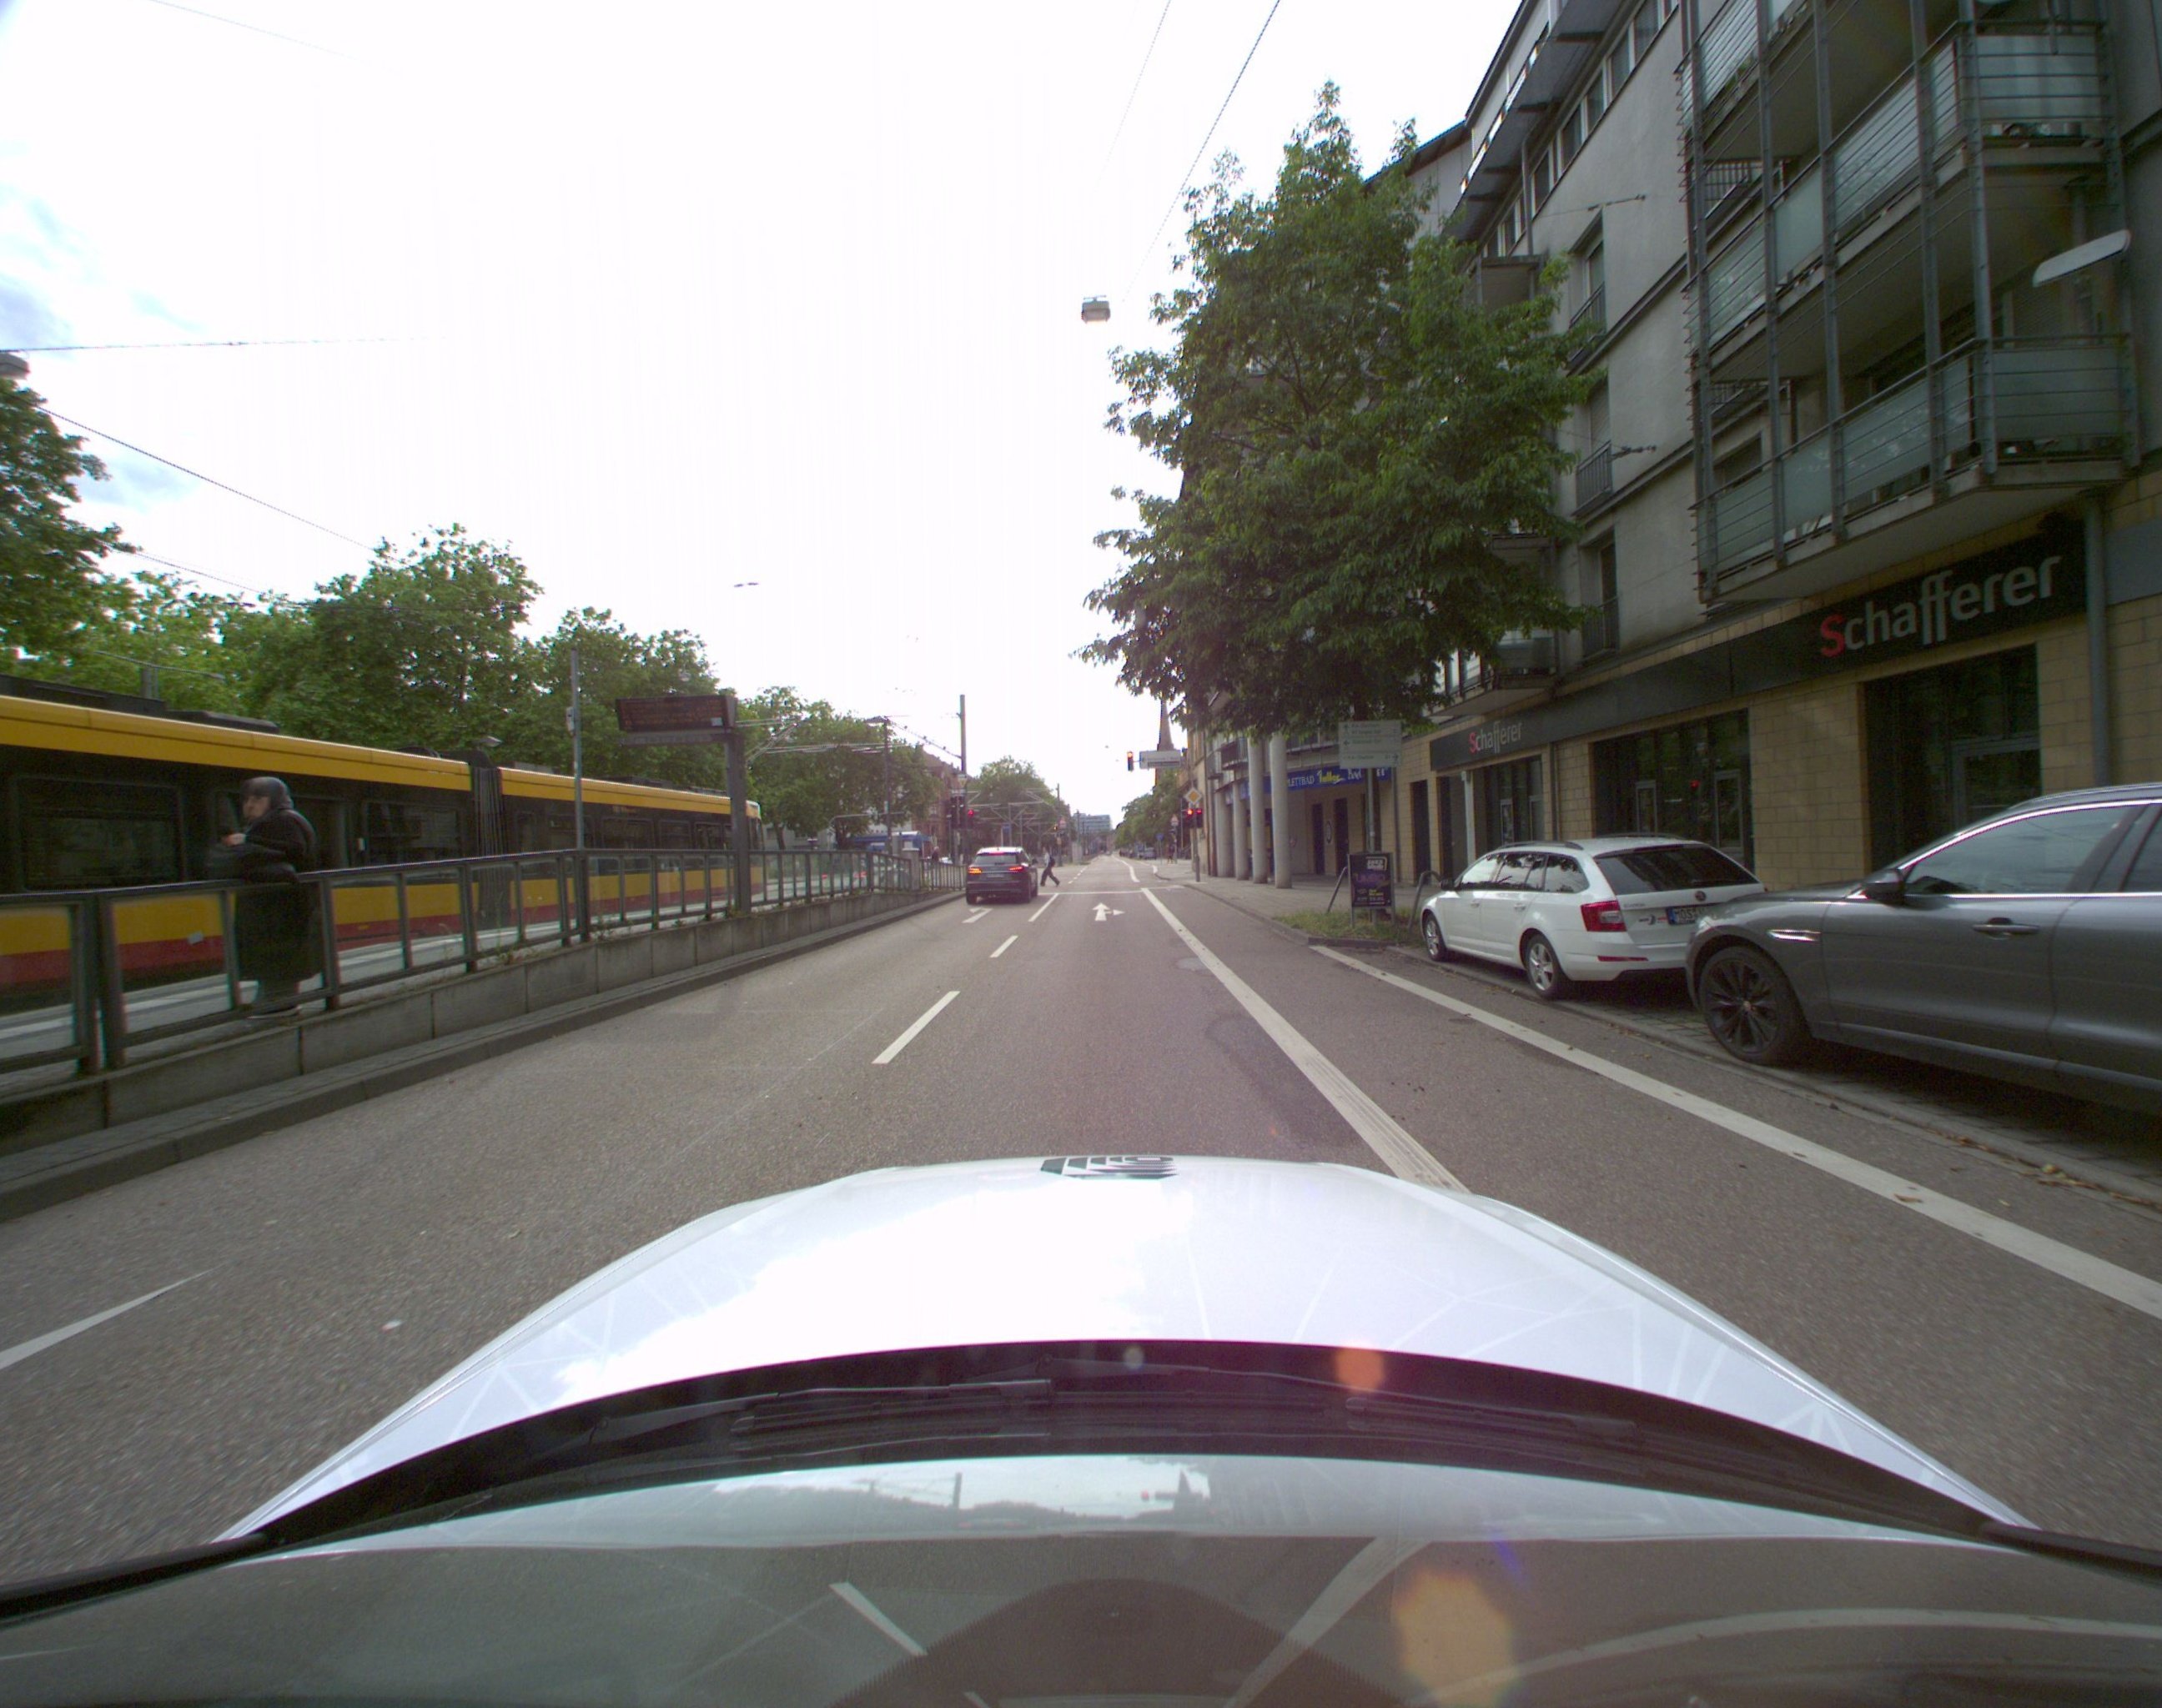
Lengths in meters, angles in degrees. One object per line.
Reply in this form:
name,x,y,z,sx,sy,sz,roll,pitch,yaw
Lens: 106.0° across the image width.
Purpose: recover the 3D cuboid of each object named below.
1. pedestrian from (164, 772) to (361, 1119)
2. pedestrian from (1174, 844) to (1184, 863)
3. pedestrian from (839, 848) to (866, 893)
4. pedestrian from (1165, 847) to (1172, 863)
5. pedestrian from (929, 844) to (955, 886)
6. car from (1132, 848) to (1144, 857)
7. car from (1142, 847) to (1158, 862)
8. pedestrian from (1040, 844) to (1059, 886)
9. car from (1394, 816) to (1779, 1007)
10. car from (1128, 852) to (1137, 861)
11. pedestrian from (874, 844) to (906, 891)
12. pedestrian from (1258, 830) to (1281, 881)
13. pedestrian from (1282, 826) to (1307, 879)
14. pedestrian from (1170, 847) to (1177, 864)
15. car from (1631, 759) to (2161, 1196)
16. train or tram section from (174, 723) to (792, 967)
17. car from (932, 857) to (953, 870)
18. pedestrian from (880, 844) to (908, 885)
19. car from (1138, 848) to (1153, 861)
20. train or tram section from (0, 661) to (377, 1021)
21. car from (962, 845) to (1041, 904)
pedestrian,-5.241,0.527,5.280,0.758,2.013,0.809,-1,0,-36
pedestrian,8.999,-0.039,74.497,0.848,1.654,0.508,-1,0,-1
pedestrian,-9.512,0.672,33.961,1.015,1.813,0.580,-1,0,-21
pedestrian,8.211,0.110,76.707,0.544,1.537,0.465,-1,0,-3
pedestrian,-5.971,0.454,35.052,0.906,1.784,0.651,-1,0,39
car,10.659,-0.283,152.472,1.986,1.607,4.165,-4,0,2
car,9.723,0.077,114.217,1.986,2.013,4.001,-1,0,2
pedestrian,-1.285,0.442,33.261,0.725,1.661,0.756,-1,0,1
car,5.161,0.489,9.159,1.669,1.498,4.393,-5,0,3
car,12.407,0.562,196.283,1.986,2.013,4.002,-1,0,2
pedestrian,-7.574,0.535,32.275,1.132,1.778,0.625,-2,-1,-16
pedestrian,6.937,0.050,29.967,0.613,1.805,0.738,-3,0,3
pedestrian,7.835,-0.052,29.952,0.672,1.890,0.738,-3,0,3
pedestrian,8.653,0.157,76.189,0.651,1.537,0.465,-1,0,-3
car,5.043,0.422,3.777,1.706,1.717,4.711,-5,0,0
train or tram section,-11.729,-0.137,20.038,3.048,3.588,15.855,-1,0,2
car,-17.657,1.216,103.812,1.887,1.557,3.838,-1,0,2
pedestrian,-7.855,0.432,34.224,0.999,1.652,0.623,-1,0,-26
car,9.747,0.078,123.657,1.986,2.013,4.001,-1,0,2
train or tram section,-12.233,-0.101,4.462,3.048,3.532,15.301,-1,0,2
car,-2.332,0.577,25.057,1.873,1.601,4.358,-2,0,1
